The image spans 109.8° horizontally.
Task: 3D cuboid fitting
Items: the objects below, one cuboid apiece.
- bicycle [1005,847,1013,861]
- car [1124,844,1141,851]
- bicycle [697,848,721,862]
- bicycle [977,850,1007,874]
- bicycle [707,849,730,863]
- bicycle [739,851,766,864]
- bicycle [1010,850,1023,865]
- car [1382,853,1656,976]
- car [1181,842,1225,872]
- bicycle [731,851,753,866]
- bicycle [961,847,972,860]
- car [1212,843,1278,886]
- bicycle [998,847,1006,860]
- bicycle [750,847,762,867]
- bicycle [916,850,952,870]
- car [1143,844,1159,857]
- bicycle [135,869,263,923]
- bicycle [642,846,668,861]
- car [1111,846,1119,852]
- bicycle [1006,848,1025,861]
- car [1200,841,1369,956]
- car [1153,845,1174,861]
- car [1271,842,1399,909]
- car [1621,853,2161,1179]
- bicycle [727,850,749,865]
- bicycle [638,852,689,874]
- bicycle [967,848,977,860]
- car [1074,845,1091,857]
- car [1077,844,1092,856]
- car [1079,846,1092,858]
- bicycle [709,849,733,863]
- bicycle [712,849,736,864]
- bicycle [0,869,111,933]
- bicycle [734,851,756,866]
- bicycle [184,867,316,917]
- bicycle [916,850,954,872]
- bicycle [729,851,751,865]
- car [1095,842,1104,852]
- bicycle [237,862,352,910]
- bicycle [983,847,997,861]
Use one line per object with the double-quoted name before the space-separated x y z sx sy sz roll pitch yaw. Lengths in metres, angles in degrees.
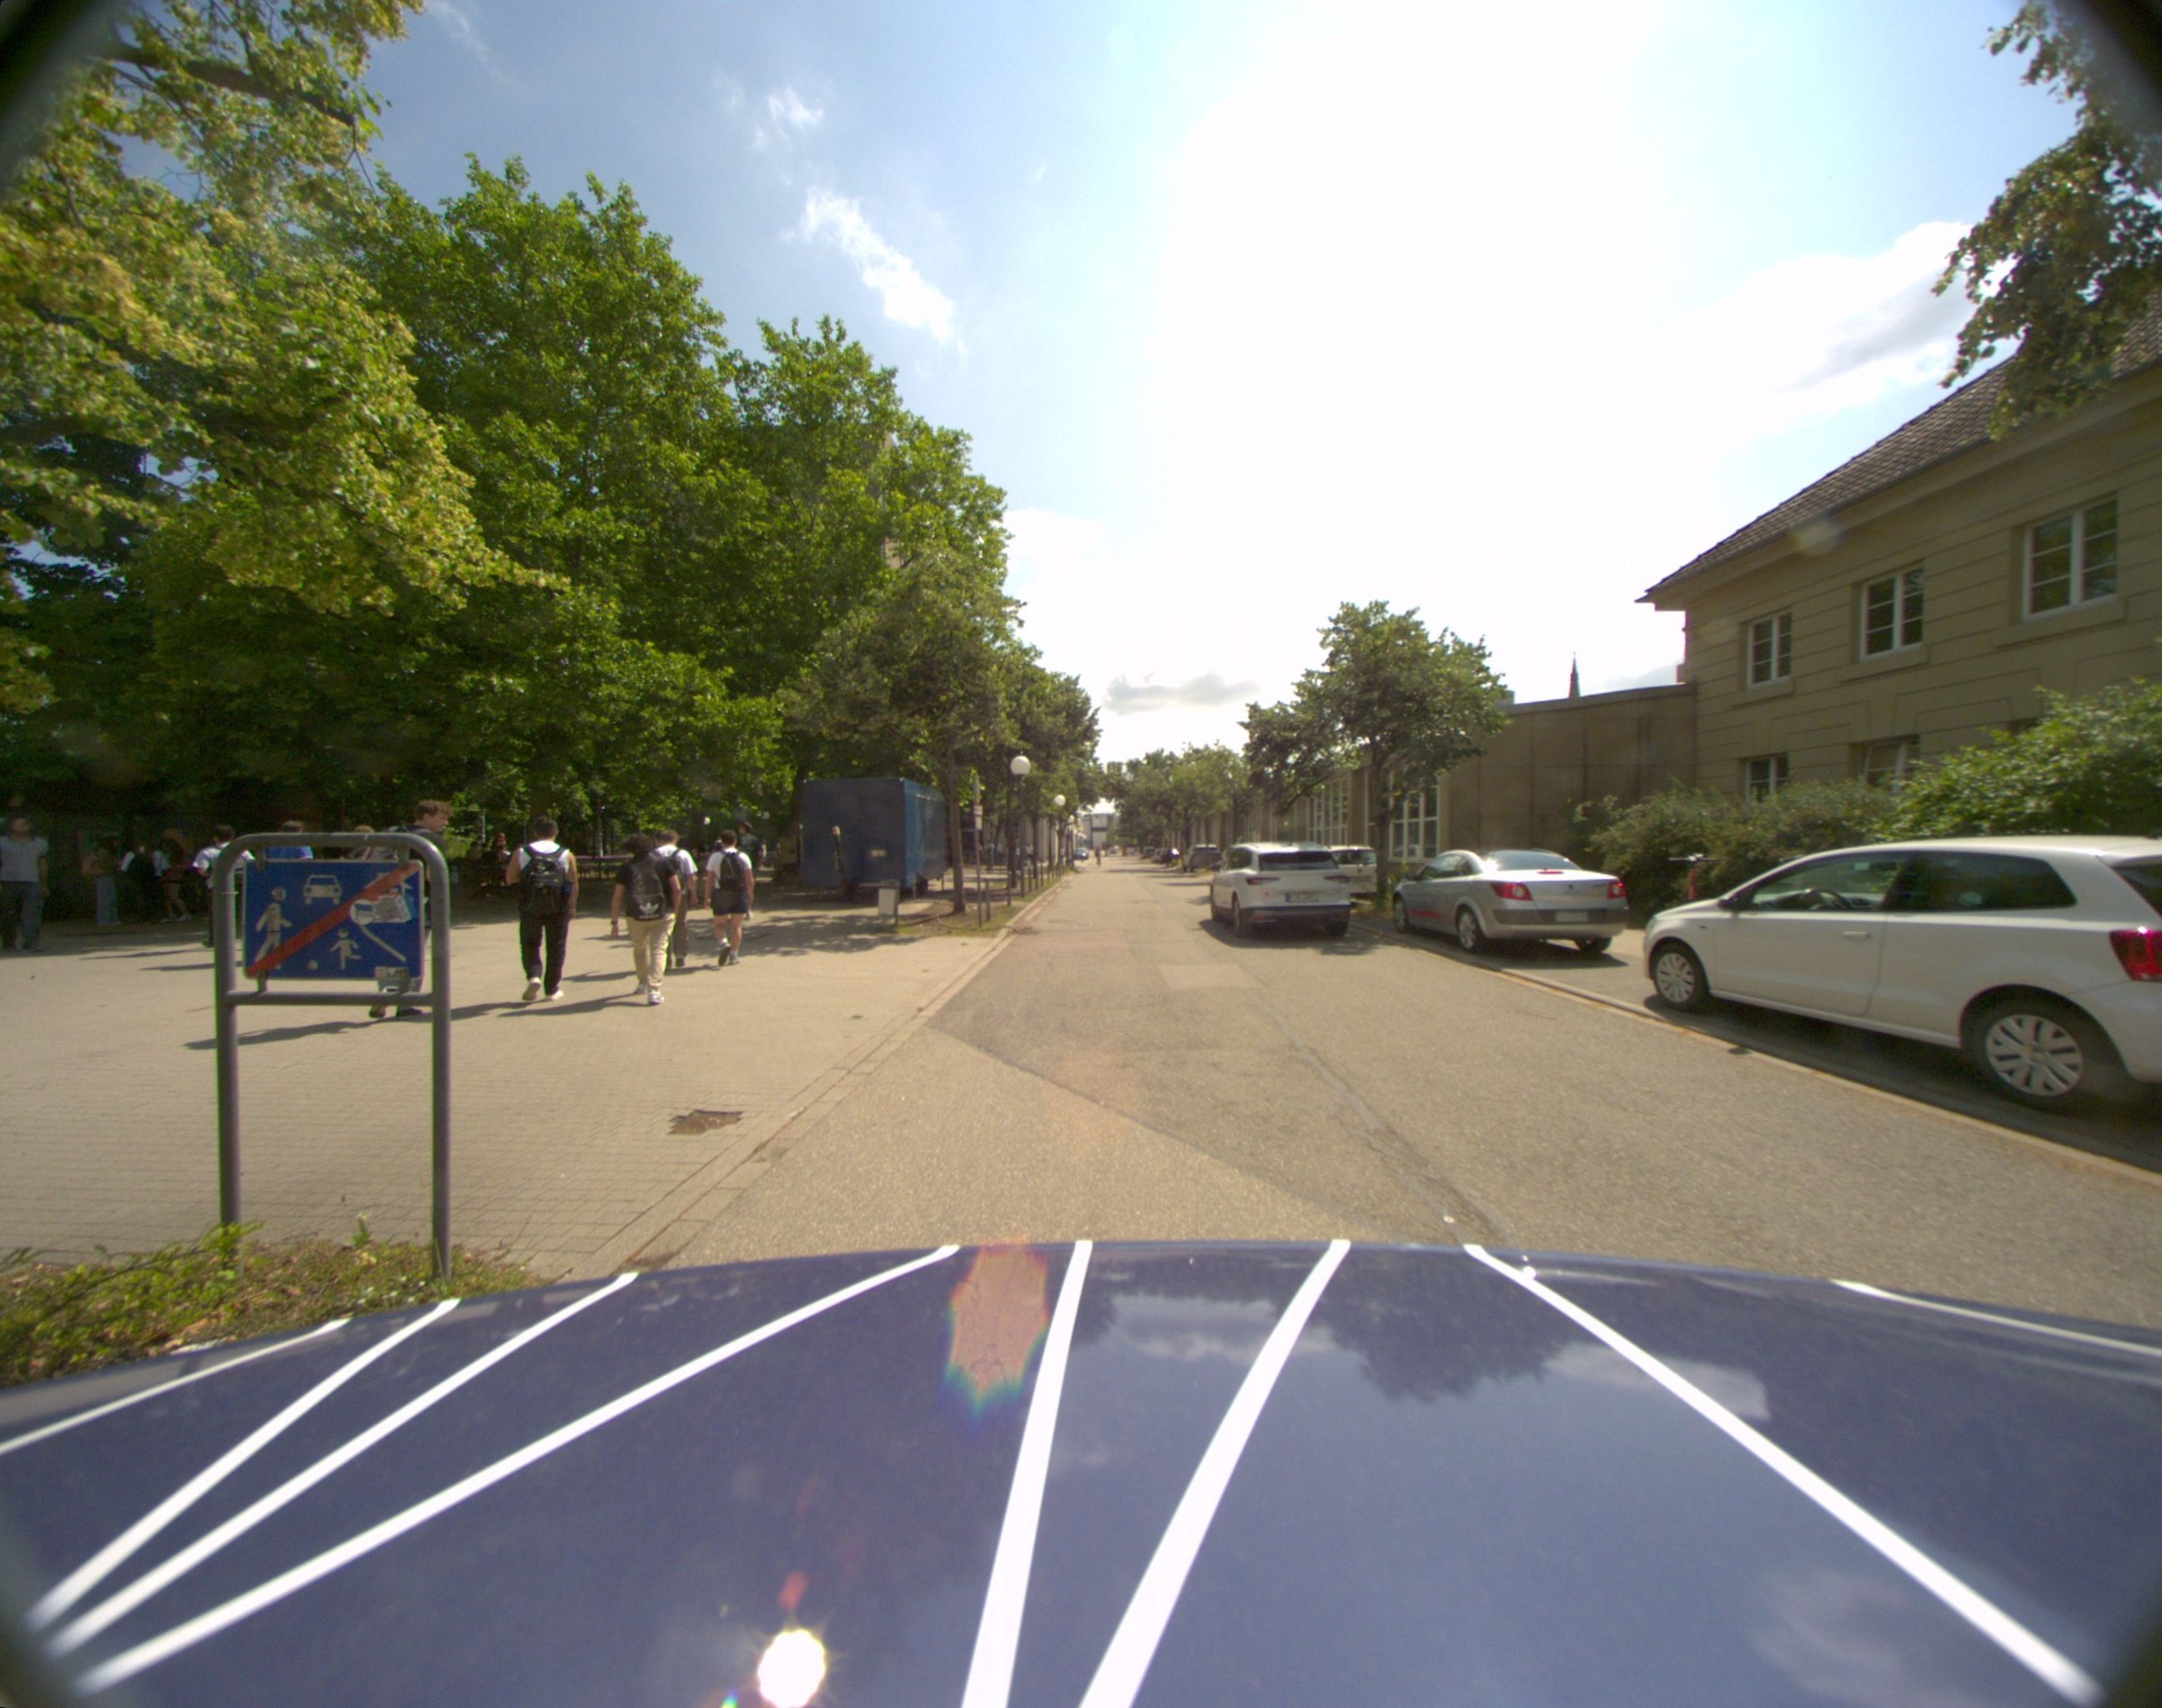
"bicycle" -6.376 -0.002 67.328 0.561 1.135 1.489 1 1 0
"car" 11.325 -1.390 167.685 3.673 1.441 1.804 -3 1 0
"bicycle" -30.669 0.108 62.602 0.477 1.077 1.691 -3 0 41
"bicycle" -4.580 0.394 39.354 0.651 1.117 2.299 3 2 16
"bicycle" -29.470 0.158 61.788 0.477 1.077 1.691 -3 0 34
"bicycle" -24.346 0.238 56.303 1.806 0.973 0.377 0 2 -44
"bicycle" -5.178 0.262 61.034 0.629 1.078 1.684 -3 4 -21
"car" 5.941 0.705 10.967 1.729 1.336 4.166 -2 1 4
"car" 7.353 0.129 46.245 1.826 1.623 4.516 -2 1 0
"bicycle" -26.088 0.314 58.525 0.352 1.077 1.475 -3 0 43
"bicycle" -10.205 -0.027 67.503 0.481 1.079 1.697 1 -1 7
"car" 6.601 0.376 30.915 1.762 1.547 4.112 -2 1 0
"bicycle" -7.853 -0.033 75.472 0.531 1.235 1.829 0 2 1
"bicycle" -20.490 0.170 47.923 0.532 1.245 1.734 1 1 -18
"bicycle" -8.177 0.325 42.223 1.950 1.076 0.404 0 1 -10
"car" 9.010 -0.459 97.741 1.803 1.441 3.676 -3 1 1
"bicycle" -18.814 0.864 16.216 2.399 1.066 0.783 0 2 15
"bicycle" -30.776 -0.030 54.918 0.347 1.087 1.615 2 2 43
"car" 8.461 -1.221 188.457 1.803 1.441 3.676 -3 1 1
"bicycle" -5.757 0.040 66.558 0.604 1.135 1.790 3 2 35
"car" 3.513 0.653 14.022 1.922 1.610 4.519 -3 2 1
"car" 8.191 -0.119 75.596 1.633 1.441 3.752 -3 1 1
"car" 6.297 0.453 19.430 1.729 1.448 4.582 -2 1 0
"car" 5.803 0.739 5.136 1.666 1.403 3.807 -2 1 2
"bicycle" -26.620 0.291 59.012 0.352 1.077 1.475 -3 0 43
"bicycle" -19.103 0.423 34.789 1.961 0.973 0.612 0 1 -17
"bicycle" -9.703 -0.006 67.772 0.481 1.079 1.516 1 -1 7
"car" 0.178 -0.320 93.127 1.842 1.390 3.878 1 0 2
"car" 0.494 -0.517 99.122 1.842 1.390 3.878 1 0 2
"car" 0.709 -0.228 113.998 1.798 1.691 4.001 3 0 2
"bicycle" -28.951 0.181 61.123 0.477 1.077 1.691 -3 0 34
"bicycle" -28.550 0.198 60.851 0.477 1.077 1.691 -3 0 34
"bicycle" -20.244 0.883 14.588 0.575 1.133 2.026 -1 1 2
"bicycle" -25.517 0.308 57.683 0.352 1.077 1.475 -3 0 36
"bicycle" -18.704 0.841 17.125 2.400 1.066 0.783 0 2 9
"bicycle" -7.806 0.358 40.679 2.021 1.160 0.651 0 1 -10
"bicycle" -26.353 0.303 58.763 0.352 1.077 1.475 -3 0 43
"car" 4.176 -1.593 173.586 1.998 2.002 4.001 3 0 2
"bicycle" -18.927 0.774 18.289 2.400 1.066 0.783 -1 2 14
"bicycle" -8.043 -0.003 67.335 0.491 1.134 1.529 1 -1 21
